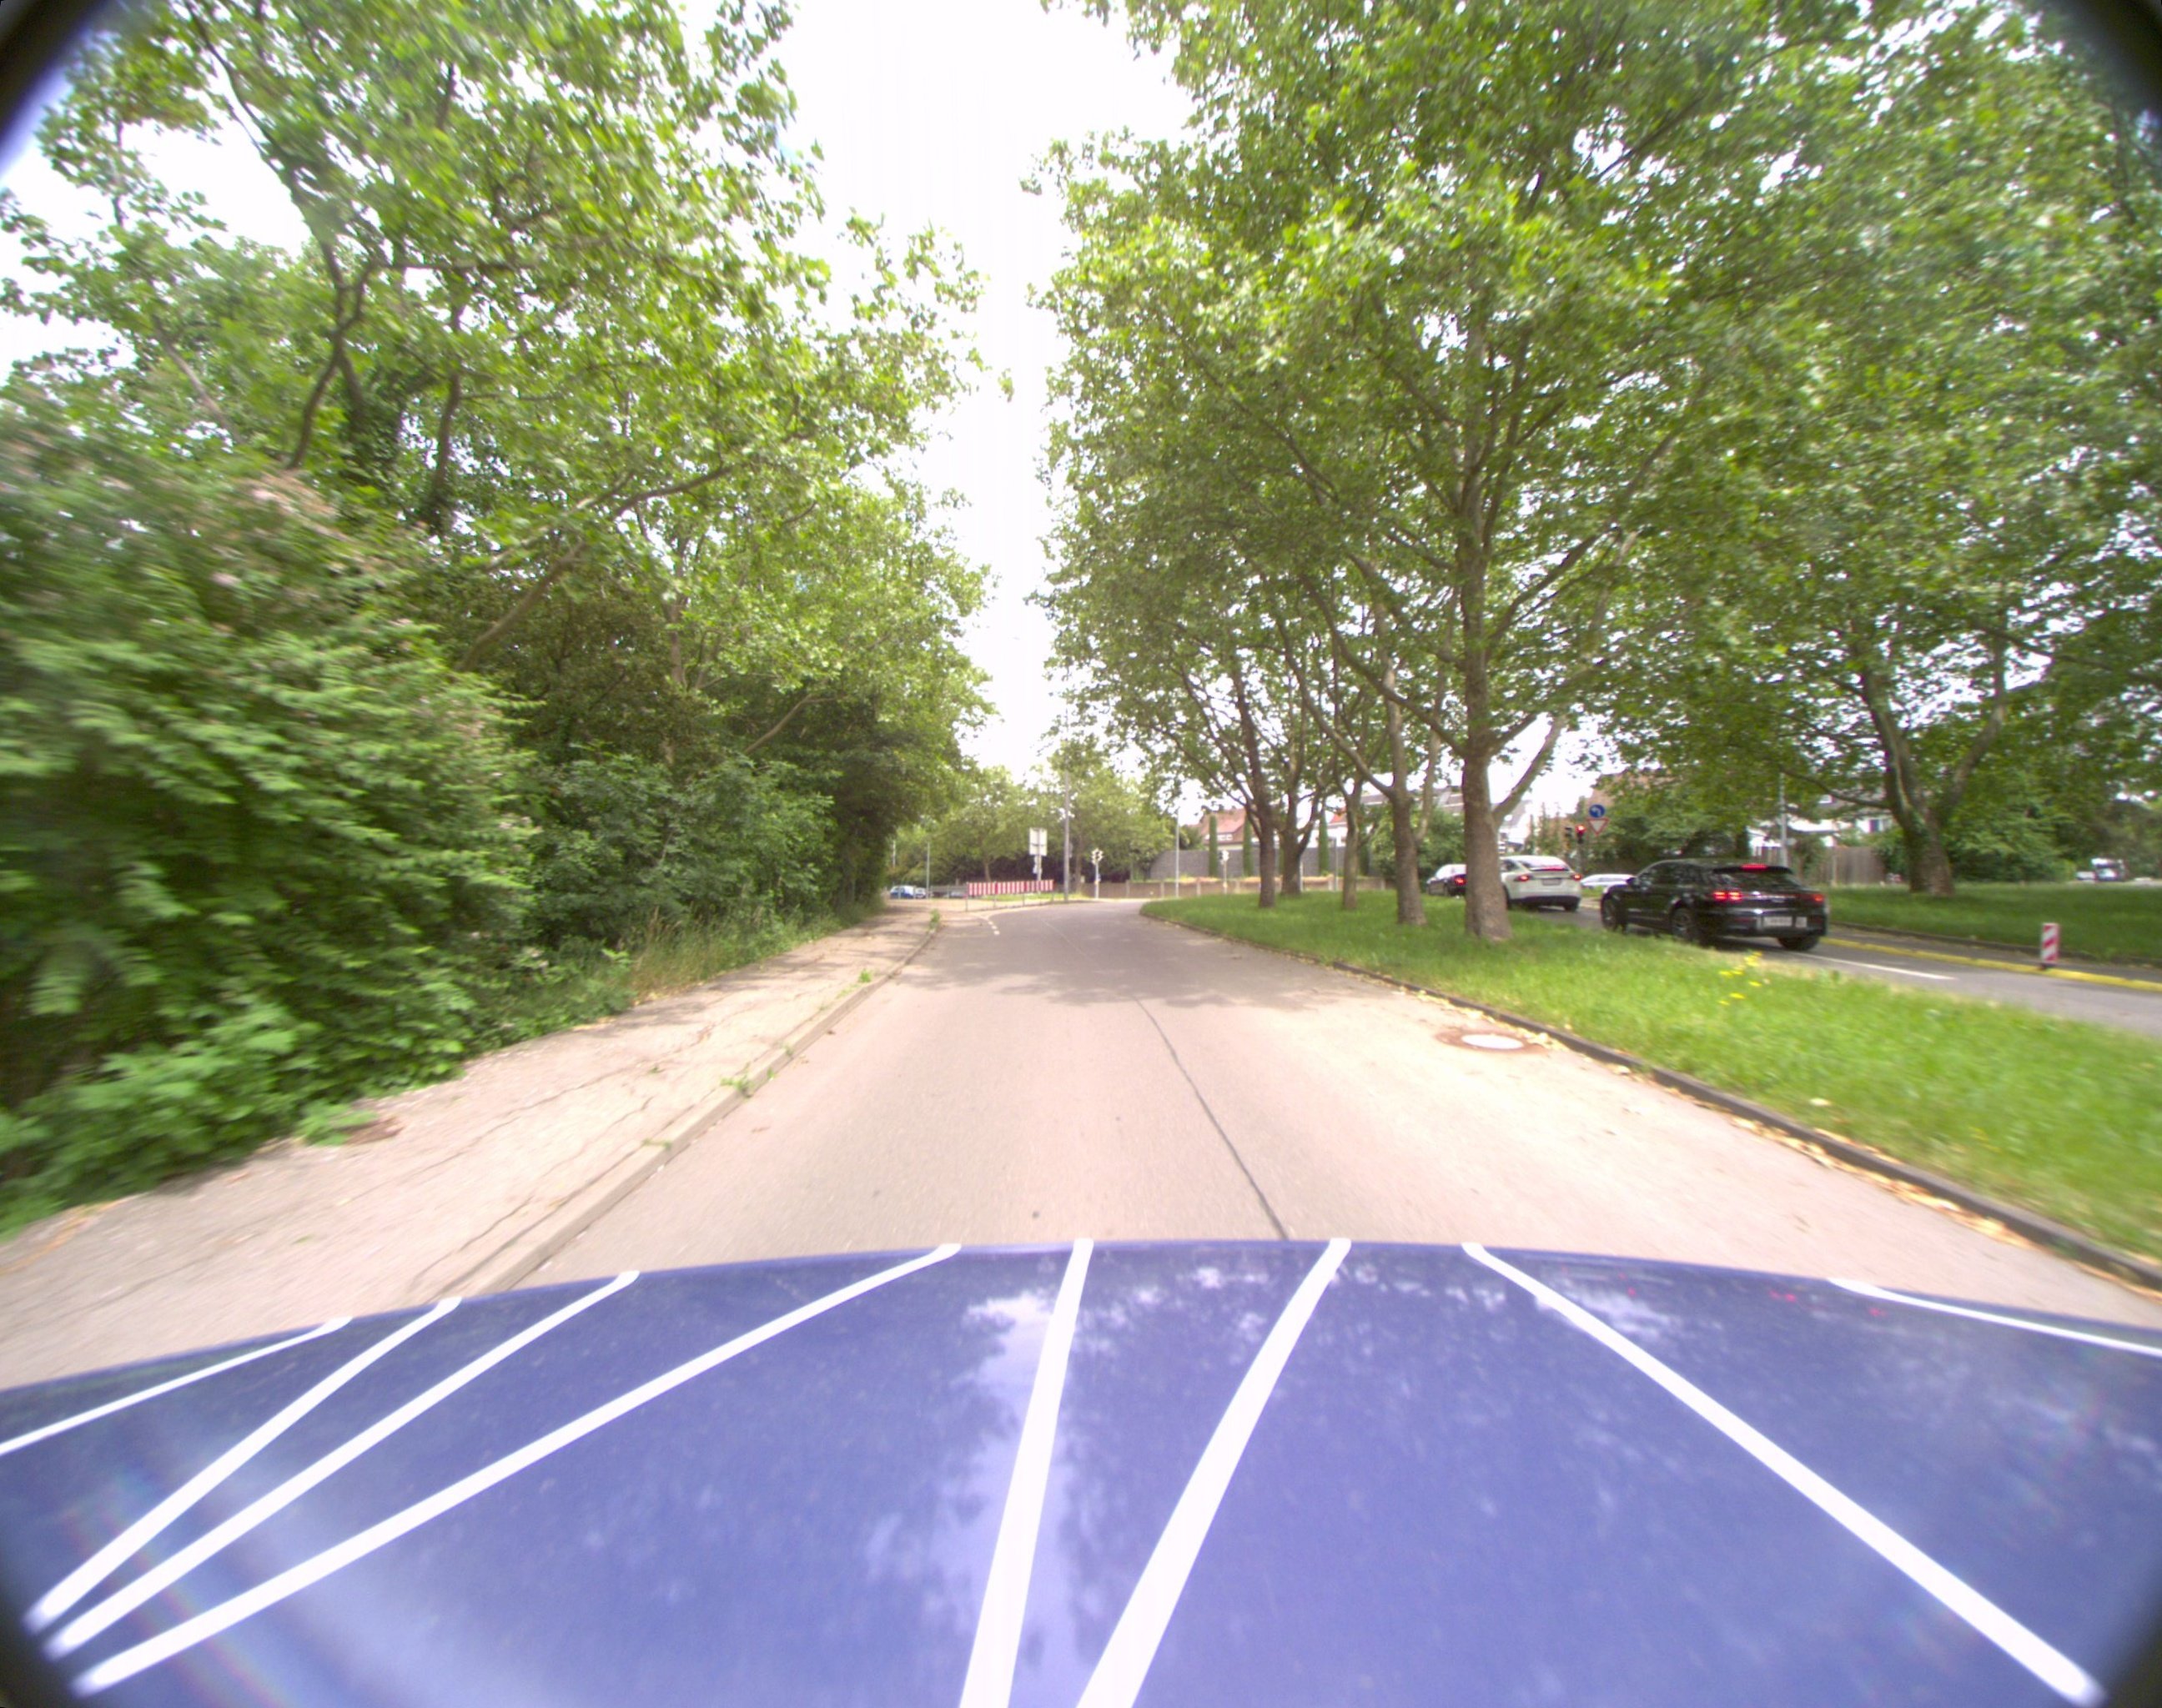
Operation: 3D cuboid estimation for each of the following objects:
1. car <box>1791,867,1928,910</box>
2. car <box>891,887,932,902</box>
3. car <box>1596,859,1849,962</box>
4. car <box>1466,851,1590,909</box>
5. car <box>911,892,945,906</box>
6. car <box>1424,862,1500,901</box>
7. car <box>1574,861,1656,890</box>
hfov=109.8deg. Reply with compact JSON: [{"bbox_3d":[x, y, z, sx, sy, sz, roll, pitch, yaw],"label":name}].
[{"bbox_3d":[31.905,1.395,31.284,3.636,1.514,1.655,2,-2,32],"label":"car"},{"bbox_3d":[-16.843,4.038,75.416,4.136,1.419,1.802,-3,-7,41],"label":"car"},{"bbox_3d":[12.059,0.944,14.768,1.760,1.582,4.617,0,1,11],"label":"car"},{"bbox_3d":[14.014,0.890,24.187,1.854,1.647,4.914,0,-3,11],"label":"car"},{"bbox_3d":[-17.951,5.310,89.293,4.027,1.593,1.802,-3,-5,41],"label":"car"},{"bbox_3d":[15.831,1.108,31.783,1.760,1.508,4.392,0,-1,12],"label":"car"},{"bbox_3d":[29.322,1.176,41.837,3.636,1.520,1.655,0,-3,32],"label":"car"}]
